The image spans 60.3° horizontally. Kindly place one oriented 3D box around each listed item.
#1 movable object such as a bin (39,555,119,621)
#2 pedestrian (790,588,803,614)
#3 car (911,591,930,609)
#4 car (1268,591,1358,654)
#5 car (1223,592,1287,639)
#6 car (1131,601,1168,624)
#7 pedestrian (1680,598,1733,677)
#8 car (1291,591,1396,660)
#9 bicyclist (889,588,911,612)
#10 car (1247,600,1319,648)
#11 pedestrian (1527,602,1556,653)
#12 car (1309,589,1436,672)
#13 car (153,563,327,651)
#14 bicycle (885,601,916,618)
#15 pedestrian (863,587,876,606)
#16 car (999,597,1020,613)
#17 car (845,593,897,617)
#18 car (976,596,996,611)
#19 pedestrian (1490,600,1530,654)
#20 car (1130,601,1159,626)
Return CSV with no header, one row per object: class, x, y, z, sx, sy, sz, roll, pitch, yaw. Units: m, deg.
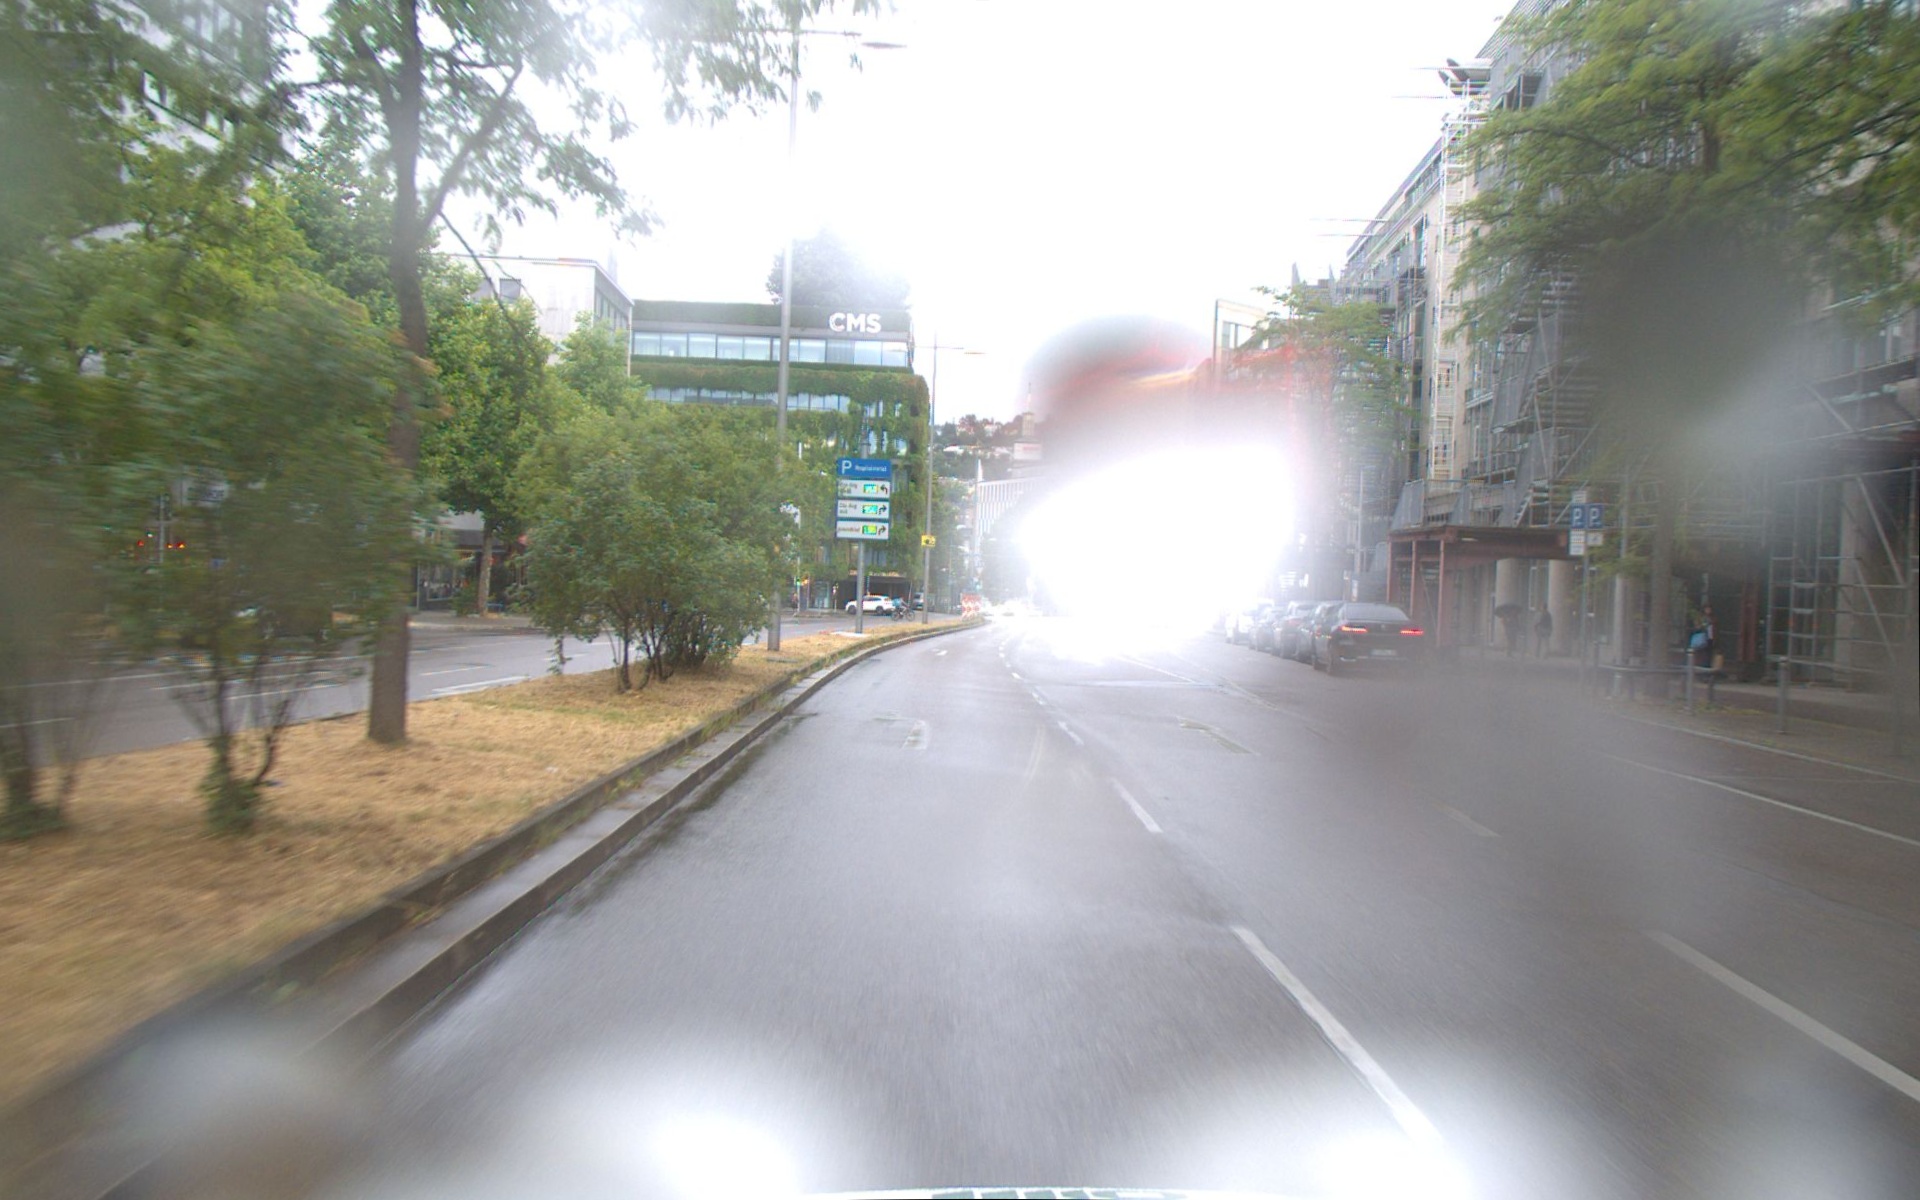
movable object such as a bin,-20.886,-0.282,39.225,1.251,1.514,1.089,1,0,3
pedestrian,-12.164,0.081,123.181,0.789,1.918,0.866,-3,0,-3
car,-4.304,-0.033,180.114,1.953,1.928,4.464,1,0,-1
car,10.077,0.602,47.544,1.951,1.675,4.865,1,0,5
car,11.724,0.609,66.037,1.952,1.780,4.528,1,0,3
car,13.145,0.858,114.826,1.668,1.556,4.428,1,0,18
pedestrian,15.726,0.780,34.873,0.689,1.624,0.923,1,0,1
car,9.703,0.616,42.178,1.822,1.629,4.594,1,0,3
bicyclist,-4.260,-0.003,117.711,1.286,1.734,0.836,1,0,-39
car,10.559,0.763,54.325,1.829,1.462,4.924,1,0,5
pedestrian,18.007,0.849,51.233,0.666,1.545,0.767,1,0,6
car,8.805,0.607,35.741,1.951,1.629,5.293,1,0,6
car,-14.737,0.141,34.092,1.742,1.664,4.024,1,0,1
bicycle,-4.260,0.669,117.687,2.132,1.122,0.836,1,0,-40
pedestrian,-8.628,-0.370,157.037,0.921,1.788,1.165,1,0,-20
car,5.101,0.512,169.293,1.952,1.577,4.557,1,0,3
car,-7.626,0.413,141.507,3.908,1.917,1.998,2,0,25
car,2.768,0.387,175.733,1.819,1.474,4.618,1,1,-3
pedestrian,16.886,0.825,50.810,0.801,1.624,1.113,1,0,-1
car,11.985,0.879,107.595,1.741,1.567,4.149,1,0,5
